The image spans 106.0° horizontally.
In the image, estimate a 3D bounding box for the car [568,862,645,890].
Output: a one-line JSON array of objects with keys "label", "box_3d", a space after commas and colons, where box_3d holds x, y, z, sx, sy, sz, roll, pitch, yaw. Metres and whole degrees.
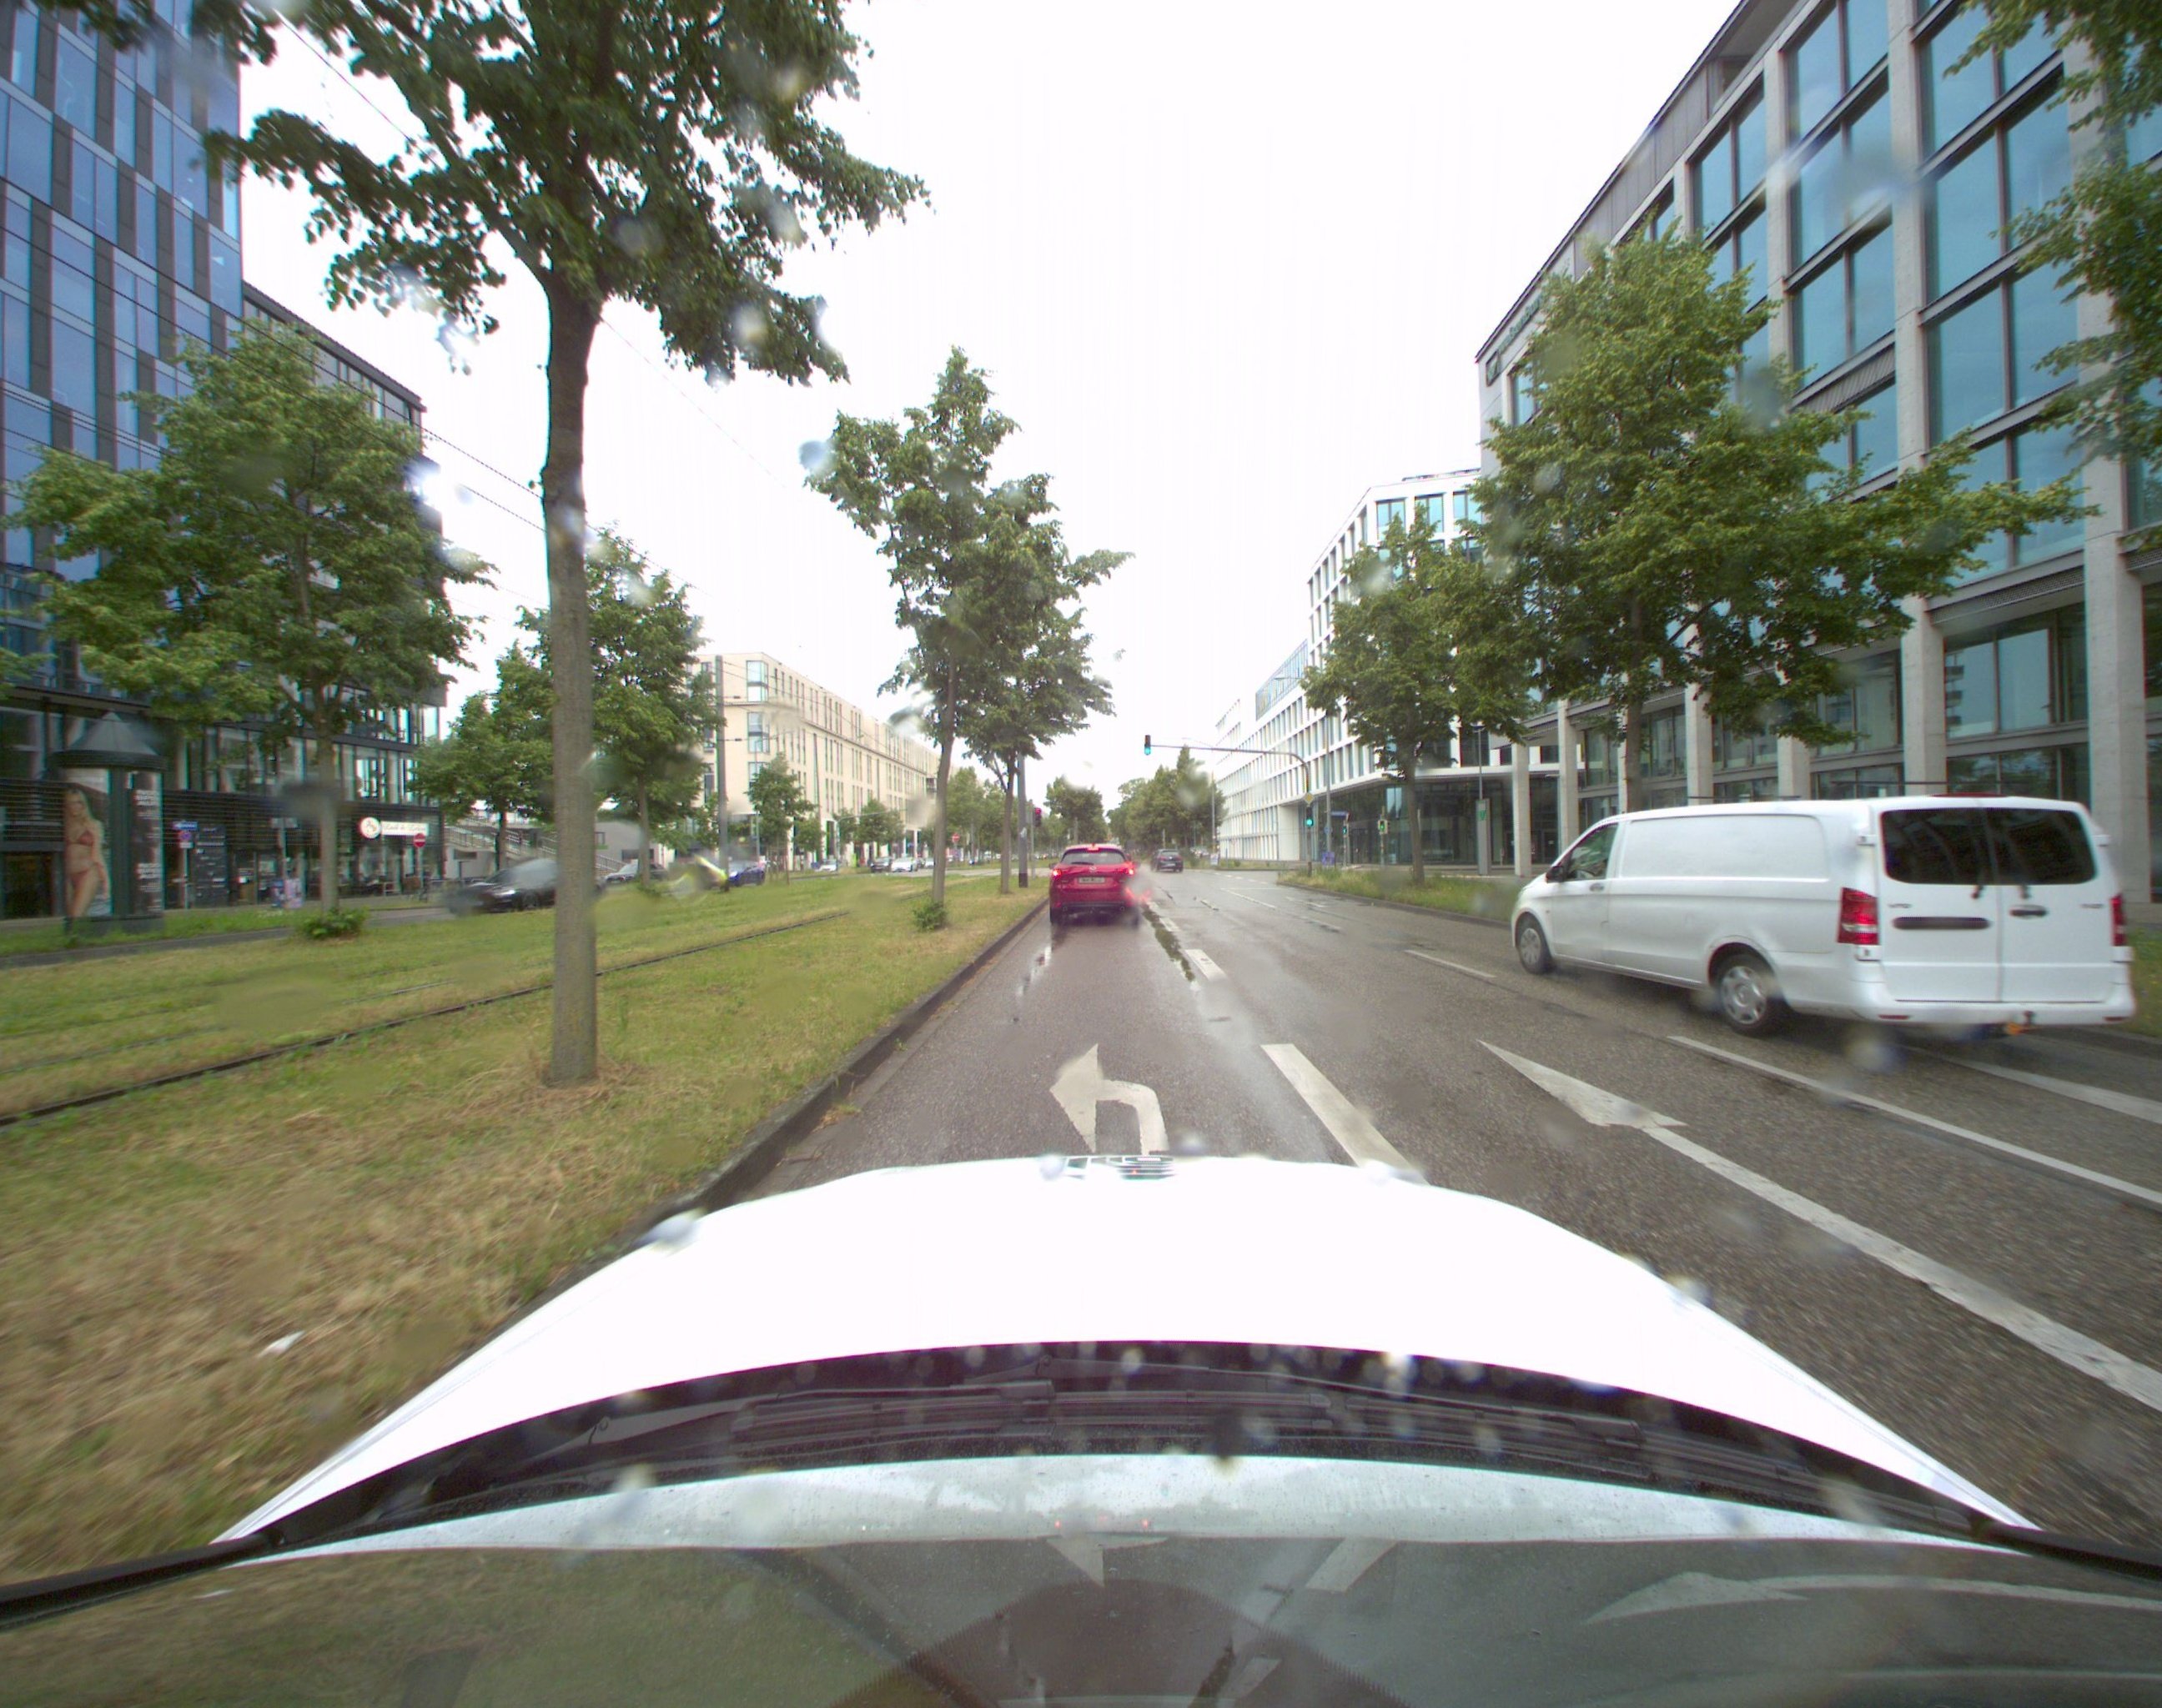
[{"label": "car", "box_3d": [-27.332, 1.237, 47.120, 1.989, 1.484, 4.441, -1, 0, -2]}]

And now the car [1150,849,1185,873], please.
[{"label": "car", "box_3d": [5.559, 0.402, 52.787, 1.739, 1.465, 3.778, -1, 0, -3]}]

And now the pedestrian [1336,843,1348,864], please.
[{"label": "pedestrian", "box_3d": [21.449, -0.024, 66.966, 0.676, 1.707, 0.783, -1, 0, -2]}]

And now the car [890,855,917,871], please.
[{"label": "car", "box_3d": [-16.946, 0.837, 77.891, 1.991, 1.484, 4.436, -1, 0, -6]}]

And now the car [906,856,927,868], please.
[{"label": "car", "box_3d": [-22.440, 1.046, 111.176, 1.988, 1.484, 4.443, -1, 0, -2]}]

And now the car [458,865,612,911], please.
[{"label": "car", "box_3d": [-18.882, 1.119, 28.486, 1.986, 1.380, 4.874, -1, 0, 1]}]

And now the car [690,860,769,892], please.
[{"label": "car", "box_3d": [-18.770, 1.124, 43.782, 1.987, 1.521, 5.011, -1, 0, 0]}]

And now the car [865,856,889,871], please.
[{"label": "car", "box_3d": [-25.705, 1.151, 102.725, 1.986, 1.838, 4.001, -1, 0, 1]}]

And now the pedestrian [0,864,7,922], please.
[{"label": "pedestrian", "box_3d": [-37.819, 1.350, 27.997, 0.700, 2.013, 0.792, -1, 0, 0]}]

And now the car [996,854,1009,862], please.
[{"label": "car", "box_3d": [-15.936, 0.813, 165.728, 1.986, 1.484, 4.447, -1, 0, 2]}]

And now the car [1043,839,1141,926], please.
[{"label": "car", "box_3d": [0.256, 0.545, 17.928, 1.891, 1.677, 4.001, -1, 0, 1]}]

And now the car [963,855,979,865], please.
[{"label": "car", "box_3d": [-16.984, 0.950, 125.914, 1.988, 1.484, 4.444, -1, 0, -1]}]

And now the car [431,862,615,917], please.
[{"label": "car", "box_3d": [-16.261, 0.977, 24.136, 1.986, 1.380, 4.874, -1, 0, 1]}]

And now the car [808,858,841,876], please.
[{"label": "car", "box_3d": [-25.889, 1.292, 82.333, 1.987, 1.618, 4.000, -1, 0, 0]}]

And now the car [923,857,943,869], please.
[{"label": "car", "box_3d": [-19.510, 1.117, 107.429, 1.989, 1.484, 4.440, -1, 0, -3]}]

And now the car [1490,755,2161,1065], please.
[{"label": "car", "box_3d": [6.127, 0.372, 7.803, 1.960, 1.979, 5.093, -1, 0, 1]}]

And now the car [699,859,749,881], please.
[{"label": "car", "box_3d": [-26.490, 1.137, 60.594, 1.989, 1.484, 4.440, -1, 0, -4]}]

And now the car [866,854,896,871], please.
[{"label": "car", "box_3d": [-20.478, 0.849, 83.459, 1.987, 1.618, 4.000, -1, 0, 0]}]

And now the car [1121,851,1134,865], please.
[{"label": "car", "box_3d": [7.239, 0.595, 126.829, 1.986, 2.013, 4.002, -1, 0, 2]}]
